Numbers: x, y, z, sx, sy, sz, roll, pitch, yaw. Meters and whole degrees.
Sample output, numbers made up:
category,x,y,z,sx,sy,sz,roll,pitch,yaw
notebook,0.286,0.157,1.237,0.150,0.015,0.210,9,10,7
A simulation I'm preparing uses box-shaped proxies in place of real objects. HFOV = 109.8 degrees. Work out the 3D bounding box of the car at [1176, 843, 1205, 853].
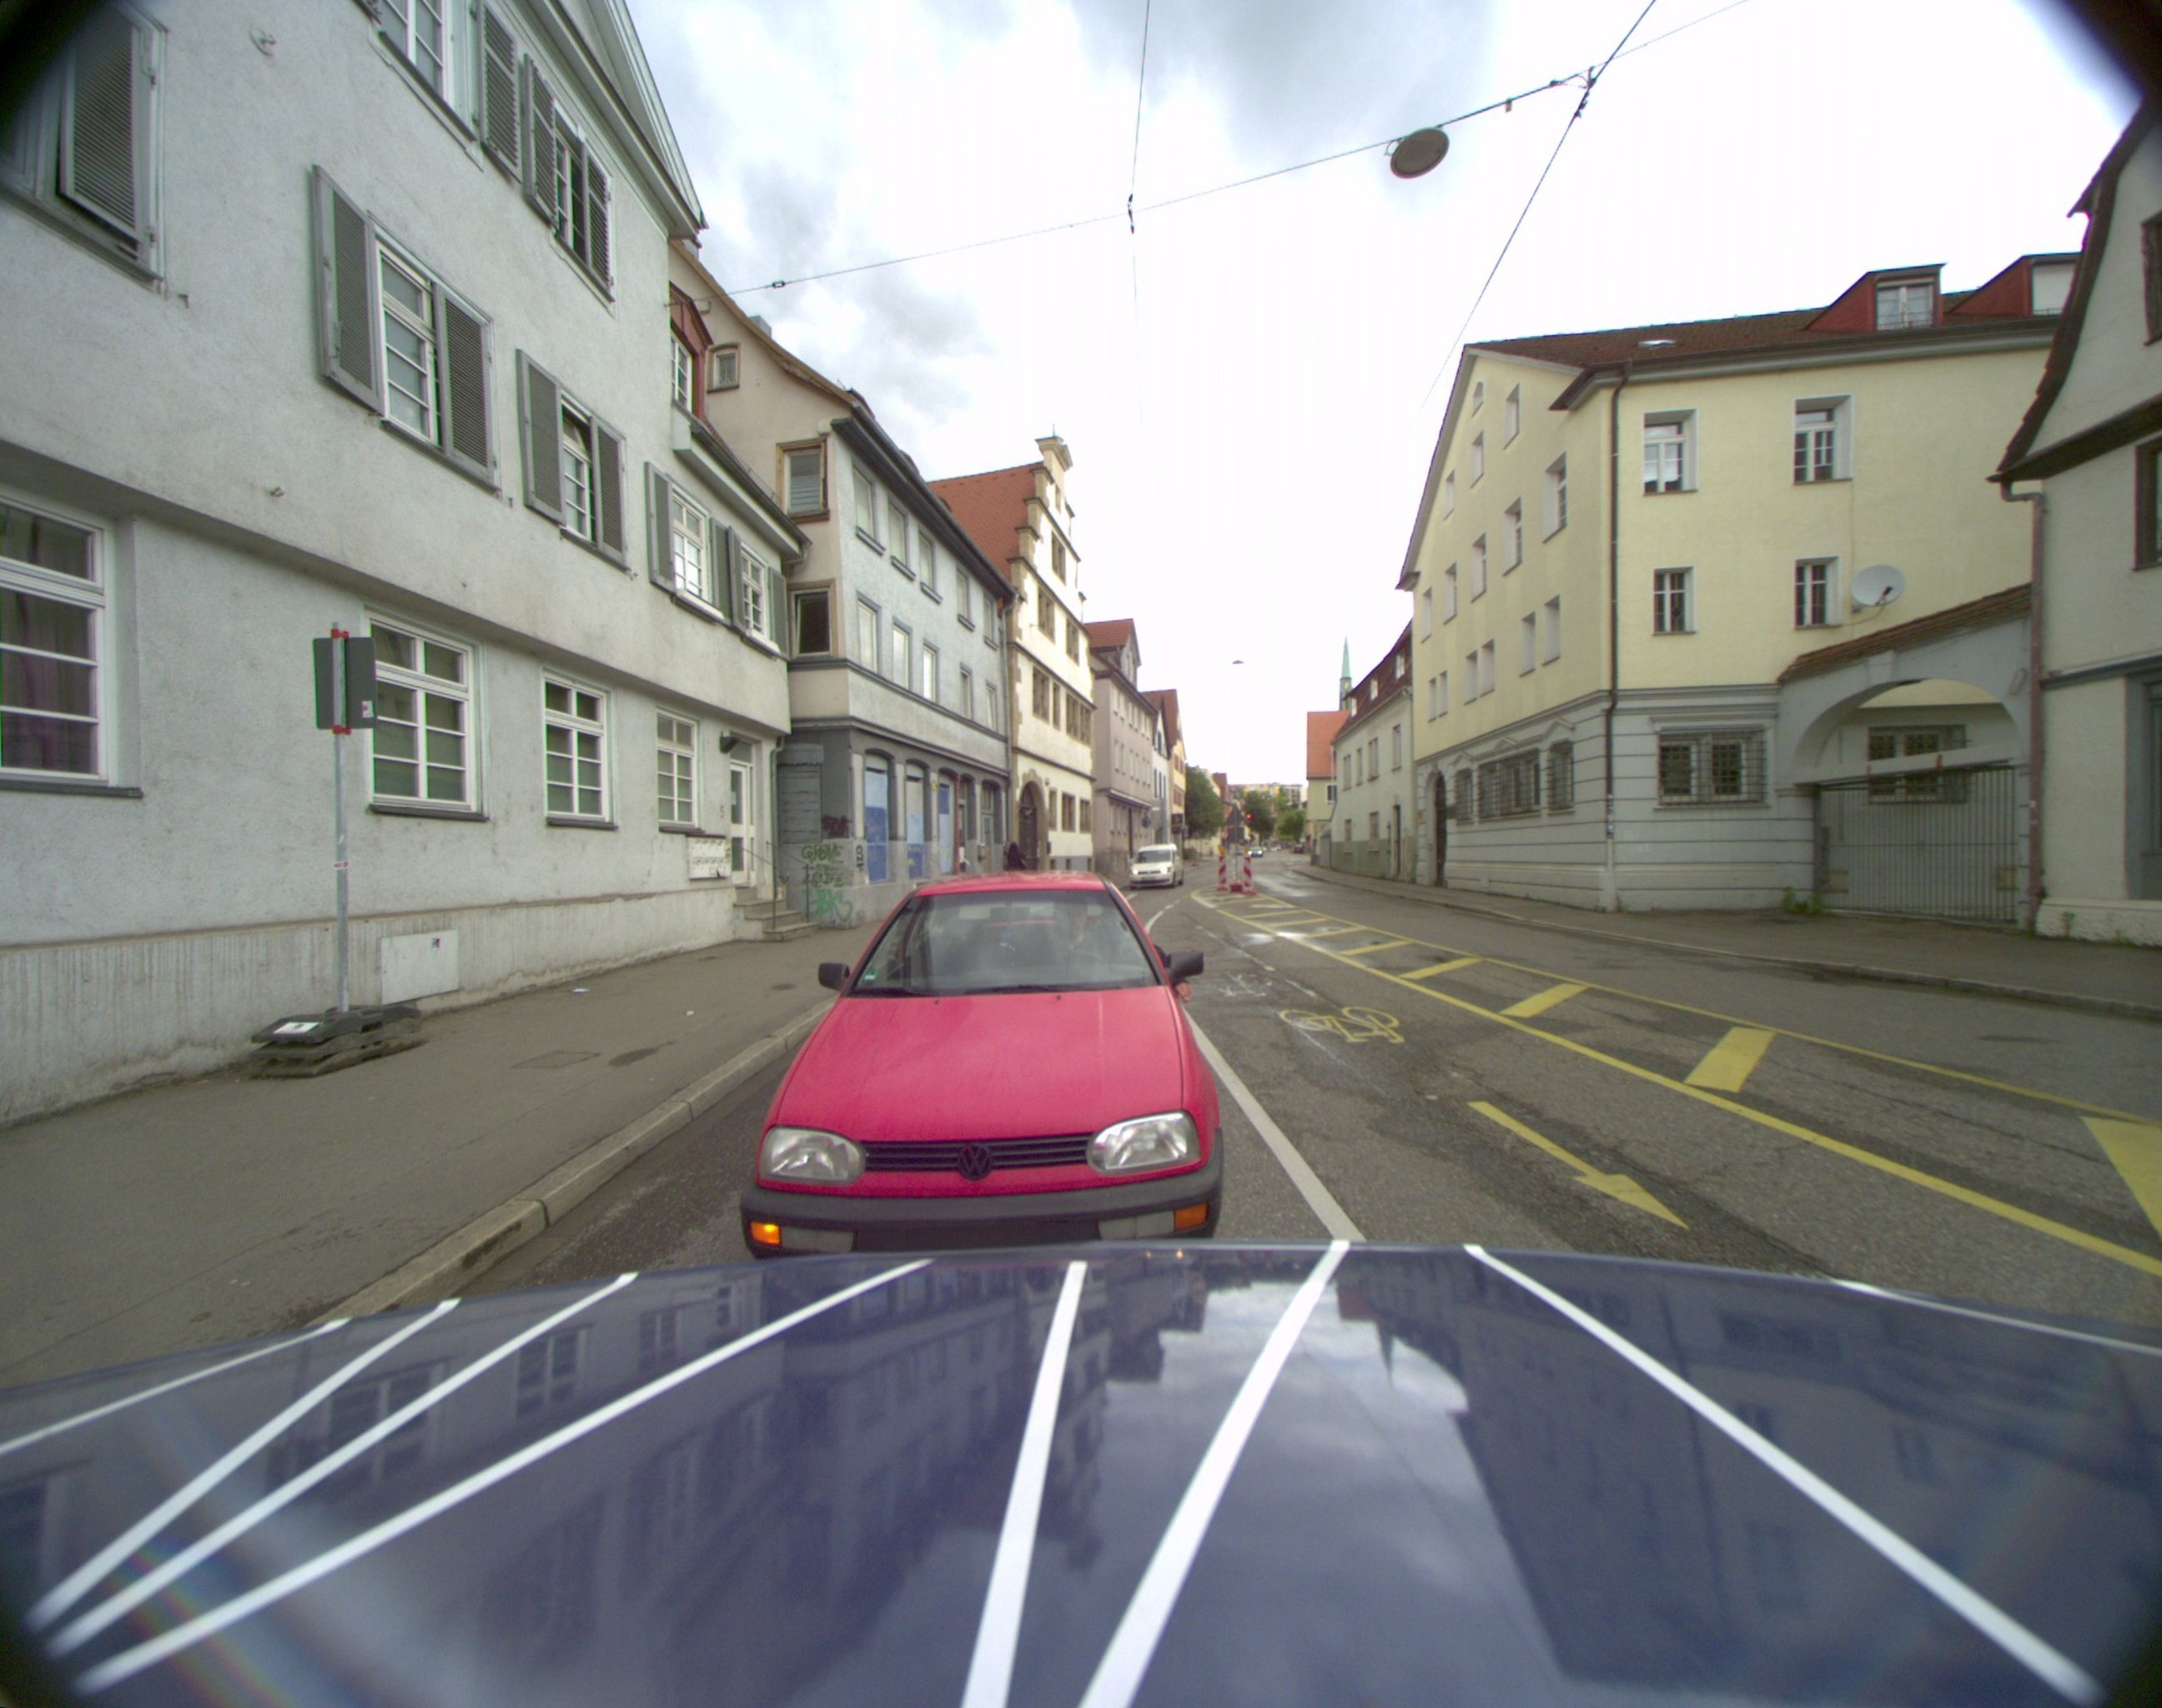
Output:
category,x,y,z,sx,sy,sz,roll,pitch,yaw
car,16.320,-0.925,113.630,3.992,1.455,2.002,-1,2,17

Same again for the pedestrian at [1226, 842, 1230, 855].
category,x,y,z,sx,sy,sz,roll,pitch,yaw
pedestrian,25.443,-0.948,131.118,0.660,2.103,0.646,-1,0,10

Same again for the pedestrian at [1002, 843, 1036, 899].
category,x,y,z,sx,sy,sz,roll,pitch,yaw
pedestrian,-1.902,0.507,23.228,0.756,1.658,0.810,2,1,15

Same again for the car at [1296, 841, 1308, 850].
category,x,y,z,sx,sy,sz,roll,pitch,yaw
car,42.680,-1.714,146.797,2.210,1.668,4.502,0,1,14

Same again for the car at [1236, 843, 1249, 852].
category,x,y,z,sx,sy,sz,roll,pitch,yaw
car,28.345,-1.166,133.621,2.031,1.546,4.004,0,1,14

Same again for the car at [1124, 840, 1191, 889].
category,x,y,z,sx,sy,sz,roll,pitch,yaw
car,3.213,0.357,31.124,1.996,1.777,4.471,0,2,16

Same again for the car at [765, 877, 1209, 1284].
category,x,y,z,sx,sy,sz,roll,pitch,yaw
car,-0.330,0.944,4.950,1.685,1.418,4.021,-1,0,1

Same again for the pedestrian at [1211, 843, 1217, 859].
category,x,y,z,sx,sy,sz,roll,pitch,yaw
pedestrian,19.679,-0.393,112.381,0.901,2.297,0.821,-1,0,13

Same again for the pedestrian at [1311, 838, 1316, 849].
category,x,y,z,sx,sy,sz,roll,pitch,yaw
pedestrian,43.426,-1.942,141.898,0.835,2.002,0.846,-1,1,13

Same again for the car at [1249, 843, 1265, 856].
category,x,y,z,sx,sy,sz,roll,pitch,yaw
car,25.103,-0.627,108.259,1.996,1.669,4.004,-1,1,15
